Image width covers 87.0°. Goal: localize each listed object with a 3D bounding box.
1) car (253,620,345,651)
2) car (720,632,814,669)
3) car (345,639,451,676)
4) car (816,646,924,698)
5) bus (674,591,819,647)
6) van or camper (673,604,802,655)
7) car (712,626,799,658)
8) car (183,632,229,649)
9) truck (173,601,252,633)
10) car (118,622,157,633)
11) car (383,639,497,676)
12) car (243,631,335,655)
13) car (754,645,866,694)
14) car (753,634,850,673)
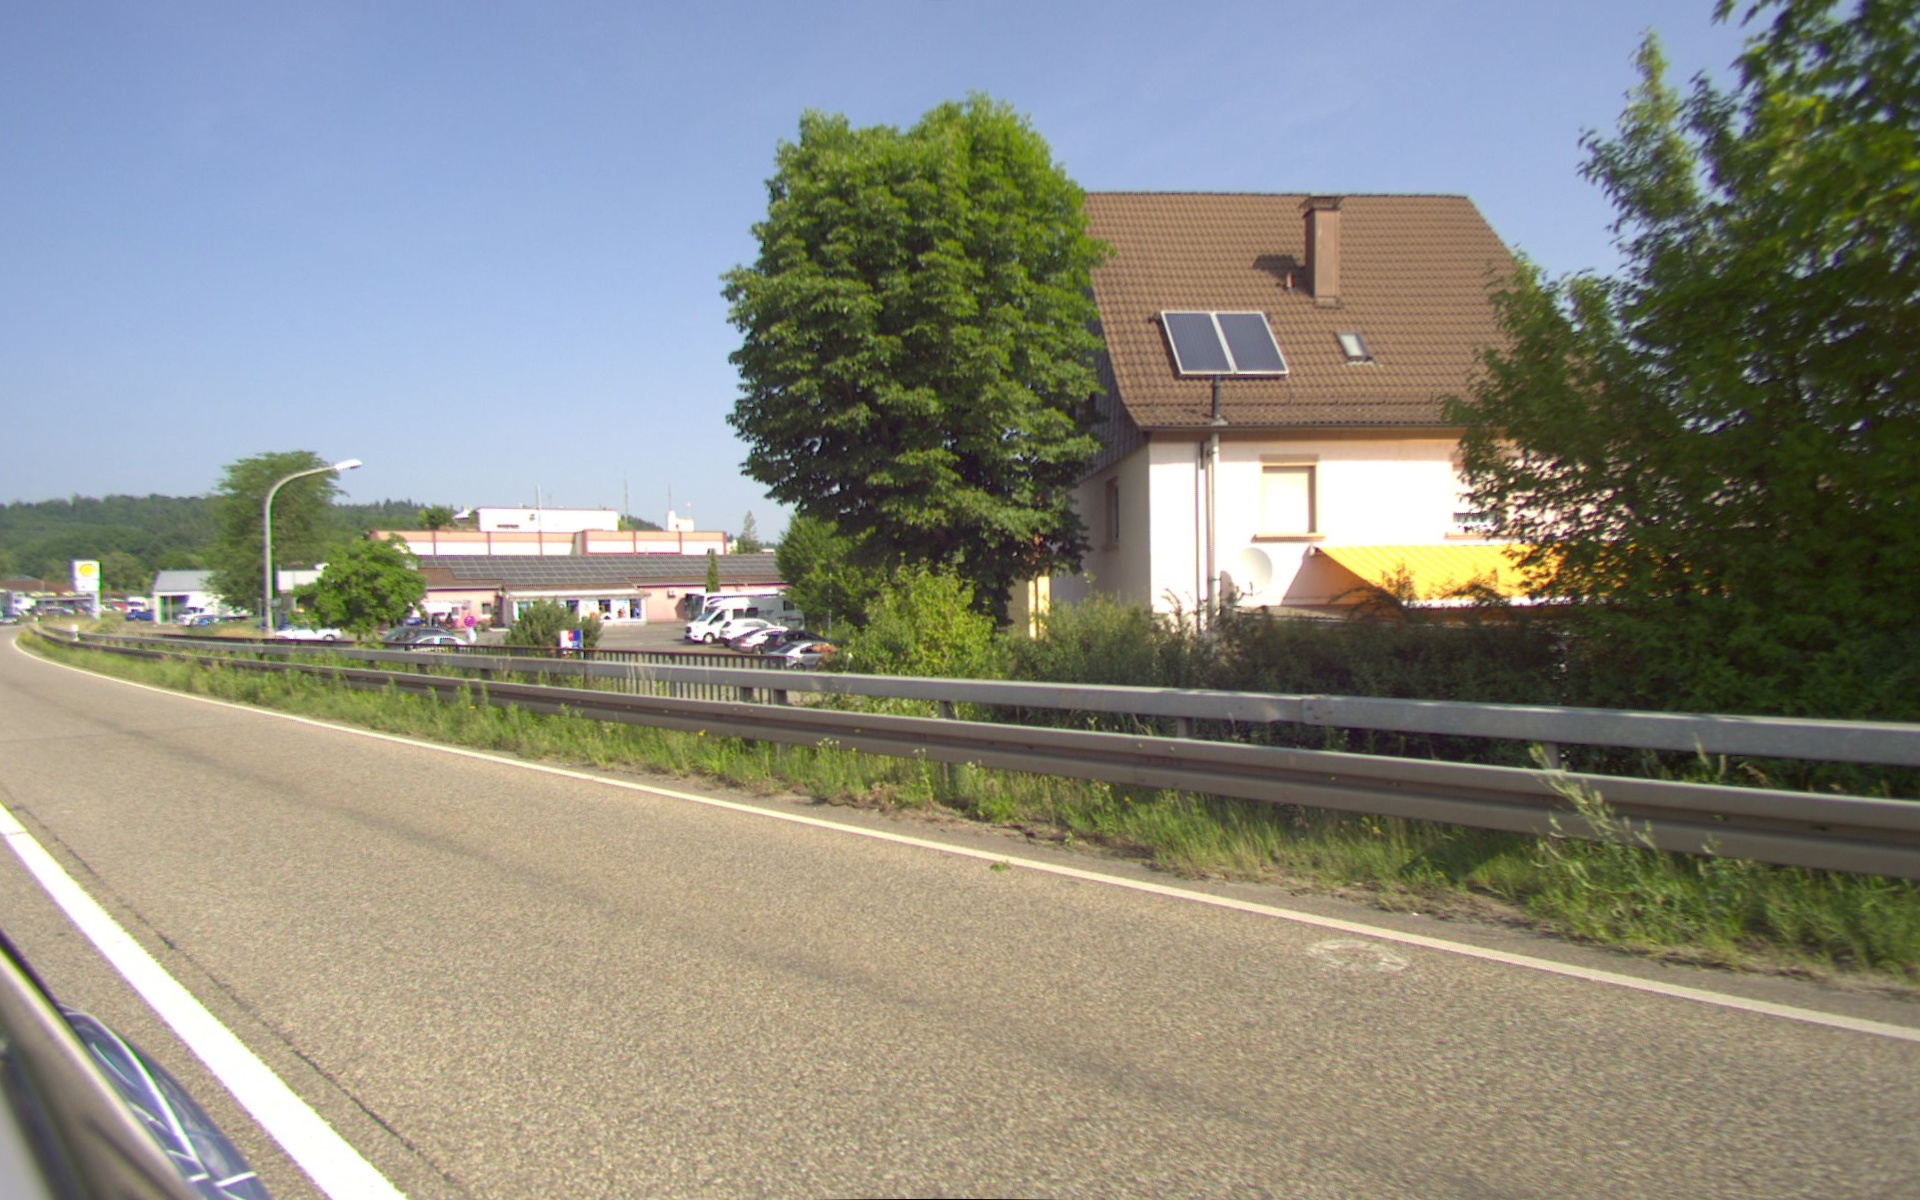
[{"bbox_3d":[-44.733,2.368,68.560,4.823,2.029,2.005,0,-1,-14],"label":"car"},{"bbox_3d":[-10.152,2.616,53.292,4.498,1.646,1.866,-1,2,-37],"label":"car"},{"bbox_3d":[-27.910,2.812,50.334,1.874,1.678,4.252,-2,-2,43],"label":"car"},{"bbox_3d":[-3.775,2.993,42.601,4.102,1.645,1.867,-4,3,-33],"label":"car"},{"bbox_3d":[-14.037,1.204,67.084,8.980,3.380,2.671,-1,-2,-37],"label":"bus"},{"bbox_3d":[-13.698,1.780,62.652,7.298,2.864,2.753,-1,0,-37],"label":"van or camper"},{"bbox_3d":[-11.764,2.401,58.324,4.498,1.645,1.866,-1,-1,-37],"label":"car"},{"bbox_3d":[-78.807,4.216,105.819,3.702,1.511,1.934,-1,0,-43],"label":"car"},{"bbox_3d":[-86.980,1.935,117.927,2.770,3.584,8.203,-1,-1,3],"label":"truck"},{"bbox_3d":[-125.532,4.181,154.482,1.968,1.518,4.209,-1,-1,17],"label":"car"},{"bbox_3d":[-23.450,2.565,45.755,4.248,1.516,1.876,1,-2,-43],"label":"car"},{"bbox_3d":[-42.357,2.702,63.958,1.743,1.393,4.565,-2,-2,42],"label":"car"},{"bbox_3d":[-6.643,3.045,44.985,4.495,1.645,1.868,-4,3,-30],"label":"car"},{"bbox_3d":[-7.968,2.676,51.057,4.496,1.646,1.867,-1,2,-34],"label":"car"}]
